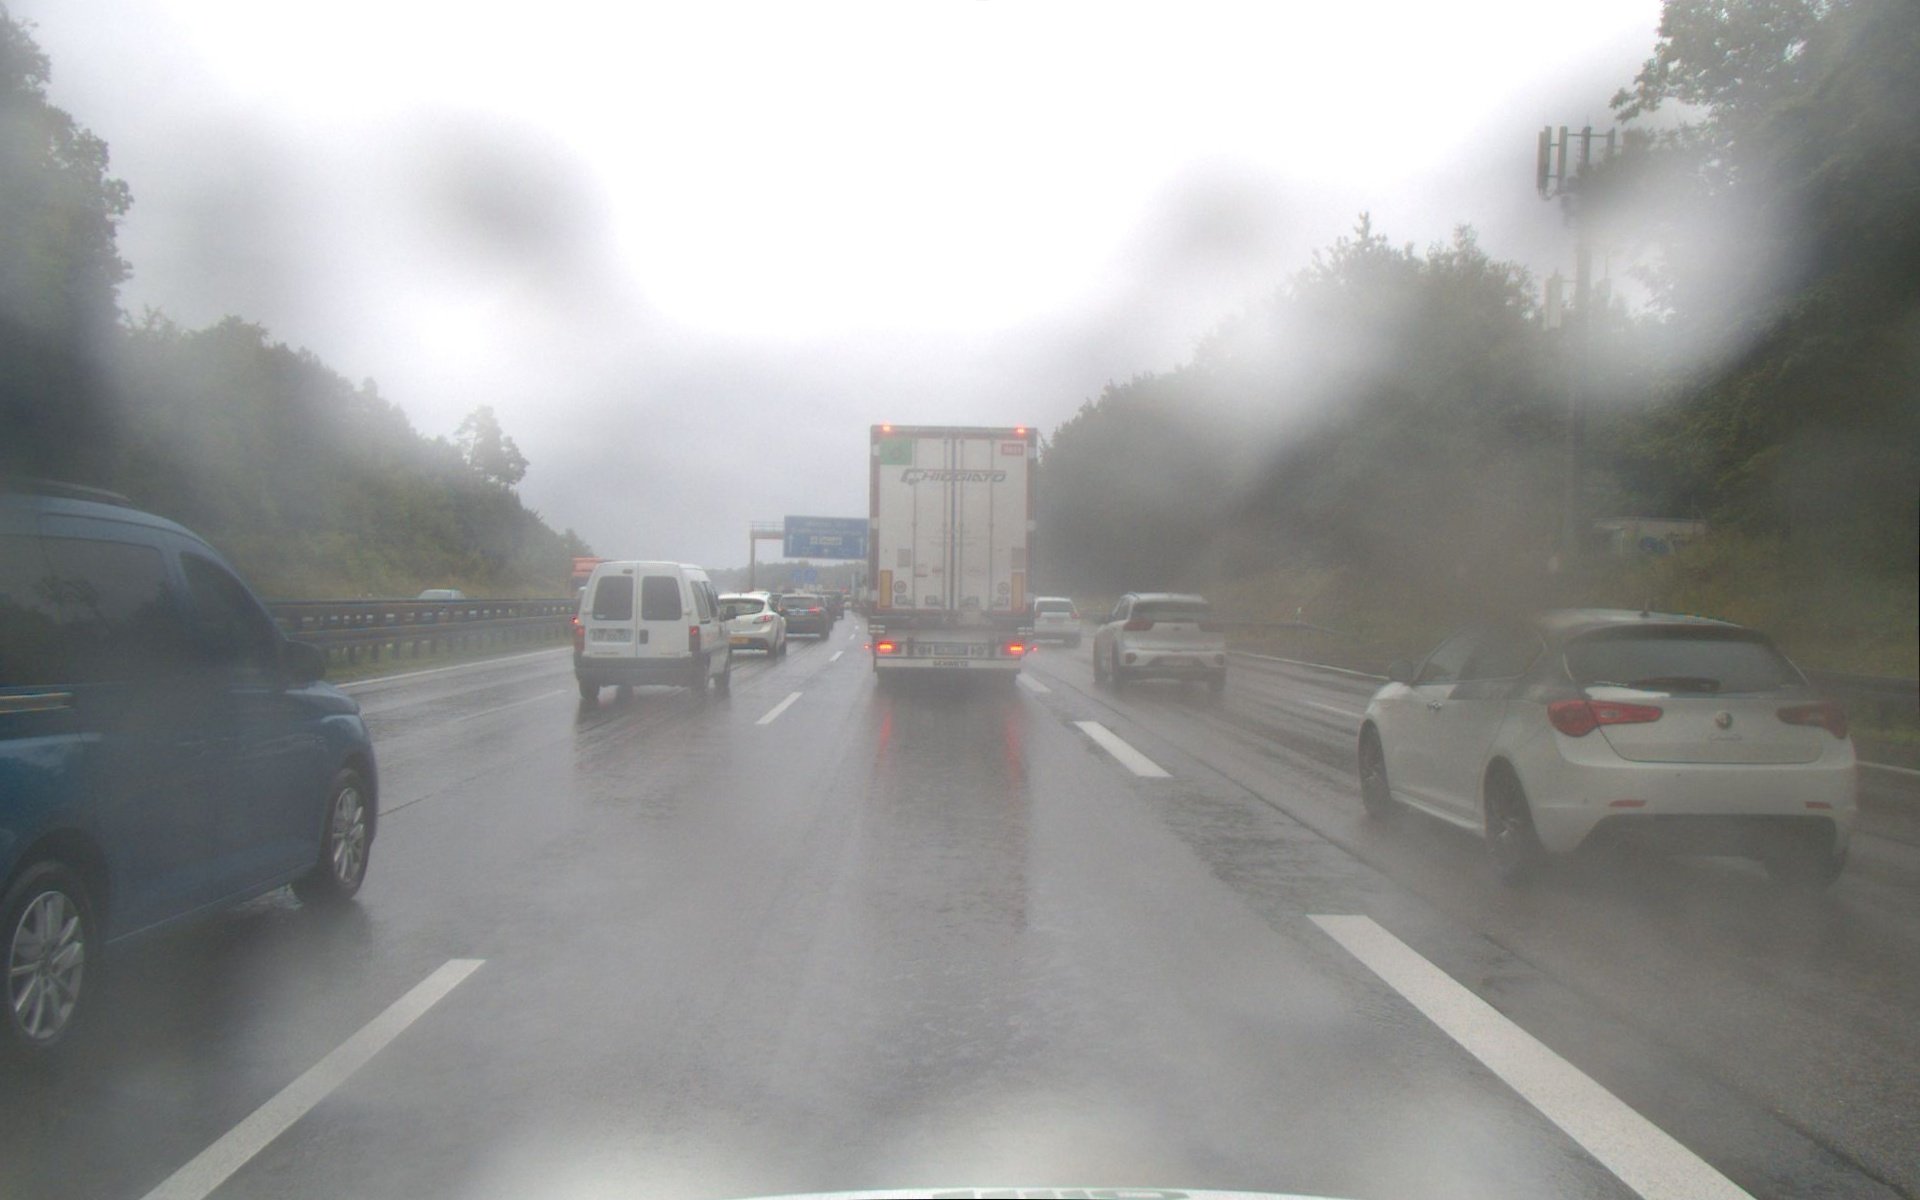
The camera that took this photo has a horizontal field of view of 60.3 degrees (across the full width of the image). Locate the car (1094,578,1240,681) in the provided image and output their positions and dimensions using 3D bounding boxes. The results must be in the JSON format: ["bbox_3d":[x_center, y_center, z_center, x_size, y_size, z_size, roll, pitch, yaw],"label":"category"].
[{"bbox_3d":[3.353,0.438,27.575,1.808,1.549,4.343,1,0,-1],"label":"car"}]

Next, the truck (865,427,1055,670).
[{"bbox_3d":[-0.117,-0.755,30.618,2.814,3.624,11.298,1,0,-1],"label":"truck"}]

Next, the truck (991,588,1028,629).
[{"bbox_3d":[3.736,0.571,125.492,2.536,2.992,6.455,1,0,0],"label":"truck"}]

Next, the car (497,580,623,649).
[{"bbox_3d":[-9.932,0.315,41.423,2.048,1.531,4.753,-2,1,-1],"label":"car"}]

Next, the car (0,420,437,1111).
[{"bbox_3d":[-3.798,0.443,5.875,2.223,1.945,5.016,1,0,0],"label":"car"}]

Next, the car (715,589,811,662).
[{"bbox_3d":[-4.636,0.563,39.390,1.808,1.619,4.071,1,0,0],"label":"car"}]

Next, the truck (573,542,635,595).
[{"bbox_3d":[-28.326,-2.427,131.884,2.648,4.000,10.028,1,0,0],"label":"truck"}]

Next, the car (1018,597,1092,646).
[{"bbox_3d":[2.974,0.650,52.583,1.966,1.418,4.566,1,0,-1],"label":"car"}]

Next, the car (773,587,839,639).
[{"bbox_3d":[-5.096,0.400,55.260,1.808,1.619,4.466,1,0,0],"label":"car"}]

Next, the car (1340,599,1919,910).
[{"bbox_3d":[3.813,0.749,10.251,1.851,1.450,4.482,1,0,0],"label":"car"}]

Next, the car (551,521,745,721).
[{"bbox_3d":[-4.476,0.263,24.512,2.169,2.618,5.012,1,0,-3],"label":"car"}]

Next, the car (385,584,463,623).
[{"bbox_3d":[-21.767,0.109,67.303,1.799,1.523,4.607,1,0,-2],"label":"car"}]

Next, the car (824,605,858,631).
[{"bbox_3d":[-6.678,1.001,92.937,1.809,1.354,4.463,1,0,-4],"label":"car"}]
